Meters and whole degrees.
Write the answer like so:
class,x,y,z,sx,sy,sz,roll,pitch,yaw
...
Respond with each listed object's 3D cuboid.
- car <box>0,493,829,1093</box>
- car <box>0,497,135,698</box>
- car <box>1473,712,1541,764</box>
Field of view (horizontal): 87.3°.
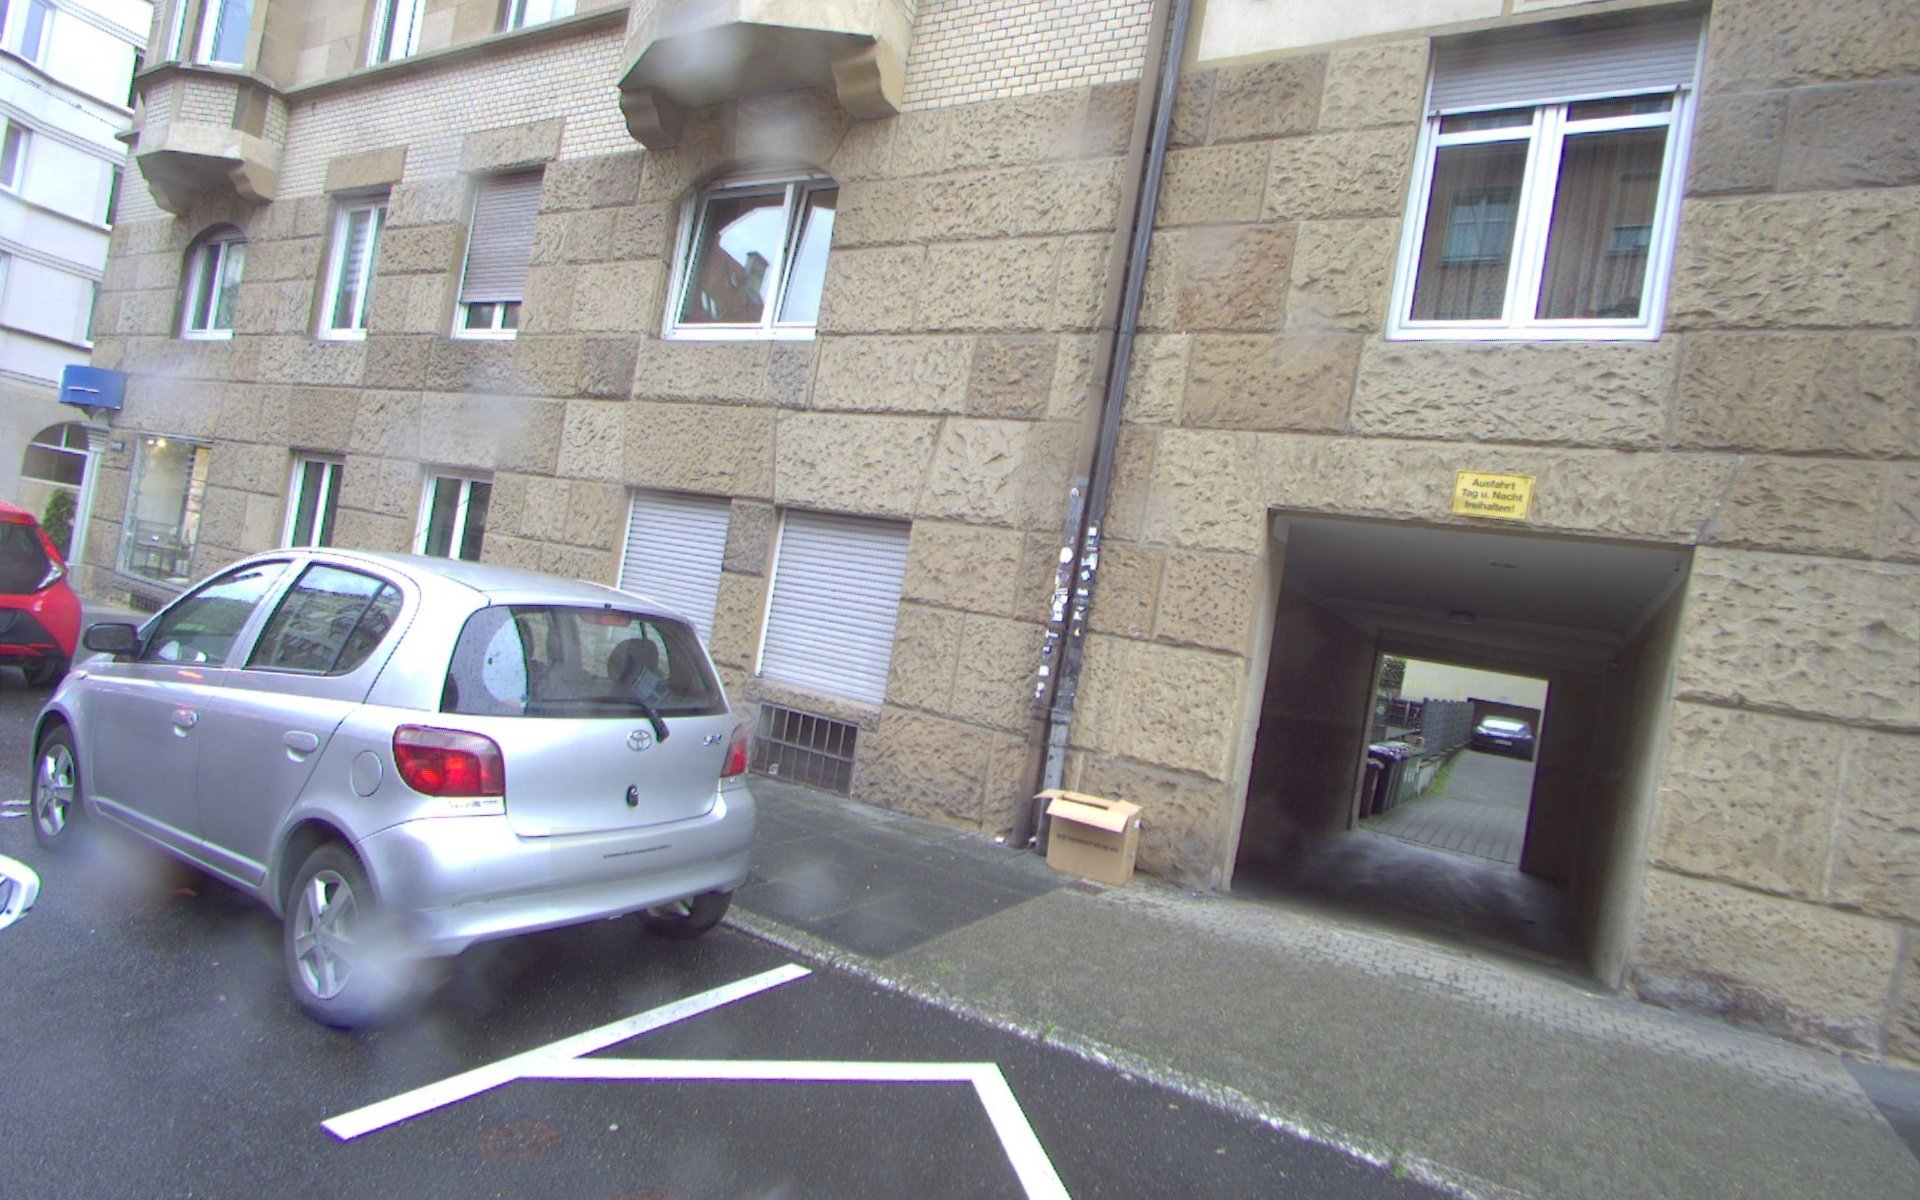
class,x,y,z,sx,sy,sz,roll,pitch,yaw
car,-2.499,0.506,4.358,3.464,1.504,1.597,7,-1,32
car,-8.688,-0.215,8.232,3.472,1.469,1.711,7,-3,29
car,18.389,4.590,33.870,1.764,1.362,4.015,6,-2,29
